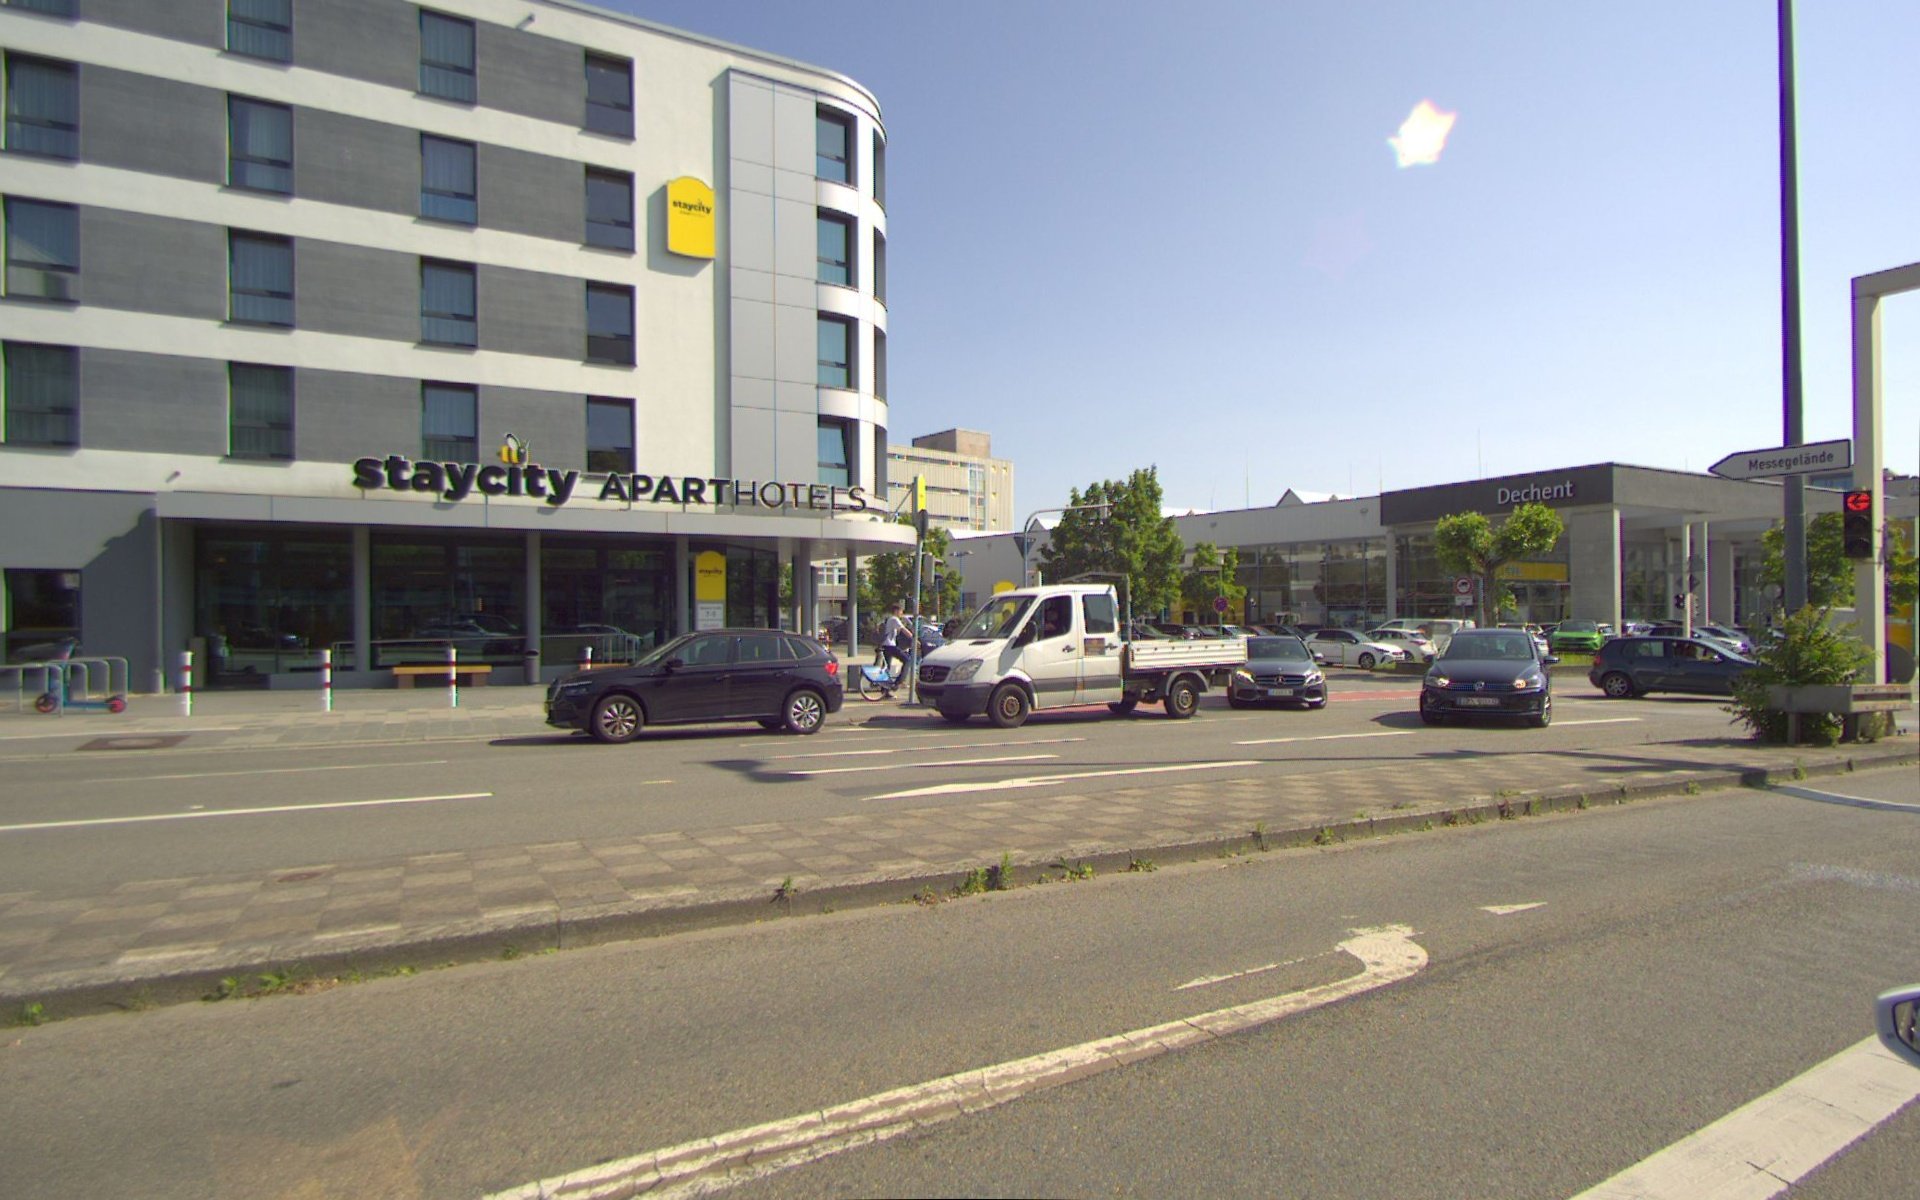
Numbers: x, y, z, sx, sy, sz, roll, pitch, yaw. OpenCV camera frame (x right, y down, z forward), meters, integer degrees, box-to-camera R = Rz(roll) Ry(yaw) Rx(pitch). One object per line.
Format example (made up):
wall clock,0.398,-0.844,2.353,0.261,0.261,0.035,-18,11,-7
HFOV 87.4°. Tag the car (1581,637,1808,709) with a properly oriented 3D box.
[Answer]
car,17.086,1.630,23.508,1.984,1.461,3.954,2,-2,-40

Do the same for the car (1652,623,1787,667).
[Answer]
car,32.805,1.903,43.479,1.978,1.789,4.274,1,-2,-32

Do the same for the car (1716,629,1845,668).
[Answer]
car,38.822,2.270,47.632,1.978,1.719,4.333,1,-2,-32

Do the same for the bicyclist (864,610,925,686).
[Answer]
bicyclist,-1.331,0.963,20.366,1.014,1.479,0.765,1,-1,-28

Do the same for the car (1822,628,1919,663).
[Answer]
car,47.014,2.286,51.128,1.973,1.719,4.345,1,-1,-24

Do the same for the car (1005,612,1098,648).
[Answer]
car,4.562,1.459,50.248,4.304,1.719,1.991,-1,-2,39

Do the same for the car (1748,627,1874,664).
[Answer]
car,41.584,2.179,49.165,1.978,1.719,4.333,1,-2,-32

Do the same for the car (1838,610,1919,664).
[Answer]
car,49.084,1.931,52.395,2.096,2.720,4.490,1,-1,-21

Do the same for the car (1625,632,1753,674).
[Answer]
car,30.583,2.202,42.228,1.981,1.620,3.959,1,-2,-36

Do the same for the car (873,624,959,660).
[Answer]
car,-2.064,1.889,45.942,1.979,1.466,4.331,2,-1,-33

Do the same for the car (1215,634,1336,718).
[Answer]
car,6.563,1.523,21.322,1.866,1.378,4.002,3,1,10

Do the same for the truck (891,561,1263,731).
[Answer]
truck,2.151,0.808,17.831,6.355,2.578,2.349,1,-3,-28

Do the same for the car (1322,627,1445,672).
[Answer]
car,17.386,1.982,41.429,1.980,1.719,4.328,1,-2,-35

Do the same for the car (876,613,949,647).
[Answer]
car,-2.847,1.775,59.481,1.971,1.815,4.376,2,0,-42

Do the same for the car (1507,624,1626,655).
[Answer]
car,27.863,1.831,46.267,1.982,1.284,4.325,4,-4,-37

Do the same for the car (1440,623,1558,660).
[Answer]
car,24.548,1.866,45.880,1.982,1.612,4.325,1,-2,-37

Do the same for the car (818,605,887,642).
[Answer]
car,-6.823,1.485,63.468,1.985,2.158,4.565,2,0,-42

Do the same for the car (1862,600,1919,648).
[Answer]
car,53.233,1.346,55.757,1.973,2.635,4.345,1,-1,-24

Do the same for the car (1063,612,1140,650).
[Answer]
car,7.752,1.686,55.303,1.983,2.040,3.956,1,-2,-38

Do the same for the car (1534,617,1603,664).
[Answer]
car,23.990,1.604,39.718,1.870,1.756,3.293,0,-3,23

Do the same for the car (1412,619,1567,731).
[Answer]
car,9.039,1.162,16.979,1.860,1.639,4.122,0,-1,34

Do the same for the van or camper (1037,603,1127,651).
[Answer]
van or camper,6.400,1.410,52.999,1.983,2.432,4.678,1,-2,-38

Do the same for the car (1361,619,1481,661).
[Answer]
car,19.837,1.698,43.384,1.982,1.719,4.323,1,-2,-38

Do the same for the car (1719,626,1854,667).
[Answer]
car,37.435,2.073,45.595,1.978,1.719,4.333,1,-1,-32

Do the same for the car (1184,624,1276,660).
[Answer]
car,13.793,2.113,51.438,1.980,1.719,4.328,1,-2,-35

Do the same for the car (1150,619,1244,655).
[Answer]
car,11.659,1.806,49.675,1.980,1.719,4.328,1,-2,-35

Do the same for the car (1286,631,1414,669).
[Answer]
car,15.097,1.901,39.086,1.980,1.317,4.328,1,-2,-35

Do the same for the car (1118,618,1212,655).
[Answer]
car,9.822,1.728,48.402,1.980,1.719,4.328,1,-2,-35

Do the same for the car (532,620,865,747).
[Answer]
car,-3.778,1.159,14.669,4.360,1.598,1.985,1,-4,-30

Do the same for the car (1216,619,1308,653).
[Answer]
car,15.808,1.874,52.694,1.982,1.719,4.324,1,-2,-37

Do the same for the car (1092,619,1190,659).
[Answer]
car,8.254,1.748,46.147,1.980,1.719,4.328,1,-2,-35

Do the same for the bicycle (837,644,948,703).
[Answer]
bicycle,-1.350,1.464,20.340,2.135,1.131,0.764,1,-1,-29
